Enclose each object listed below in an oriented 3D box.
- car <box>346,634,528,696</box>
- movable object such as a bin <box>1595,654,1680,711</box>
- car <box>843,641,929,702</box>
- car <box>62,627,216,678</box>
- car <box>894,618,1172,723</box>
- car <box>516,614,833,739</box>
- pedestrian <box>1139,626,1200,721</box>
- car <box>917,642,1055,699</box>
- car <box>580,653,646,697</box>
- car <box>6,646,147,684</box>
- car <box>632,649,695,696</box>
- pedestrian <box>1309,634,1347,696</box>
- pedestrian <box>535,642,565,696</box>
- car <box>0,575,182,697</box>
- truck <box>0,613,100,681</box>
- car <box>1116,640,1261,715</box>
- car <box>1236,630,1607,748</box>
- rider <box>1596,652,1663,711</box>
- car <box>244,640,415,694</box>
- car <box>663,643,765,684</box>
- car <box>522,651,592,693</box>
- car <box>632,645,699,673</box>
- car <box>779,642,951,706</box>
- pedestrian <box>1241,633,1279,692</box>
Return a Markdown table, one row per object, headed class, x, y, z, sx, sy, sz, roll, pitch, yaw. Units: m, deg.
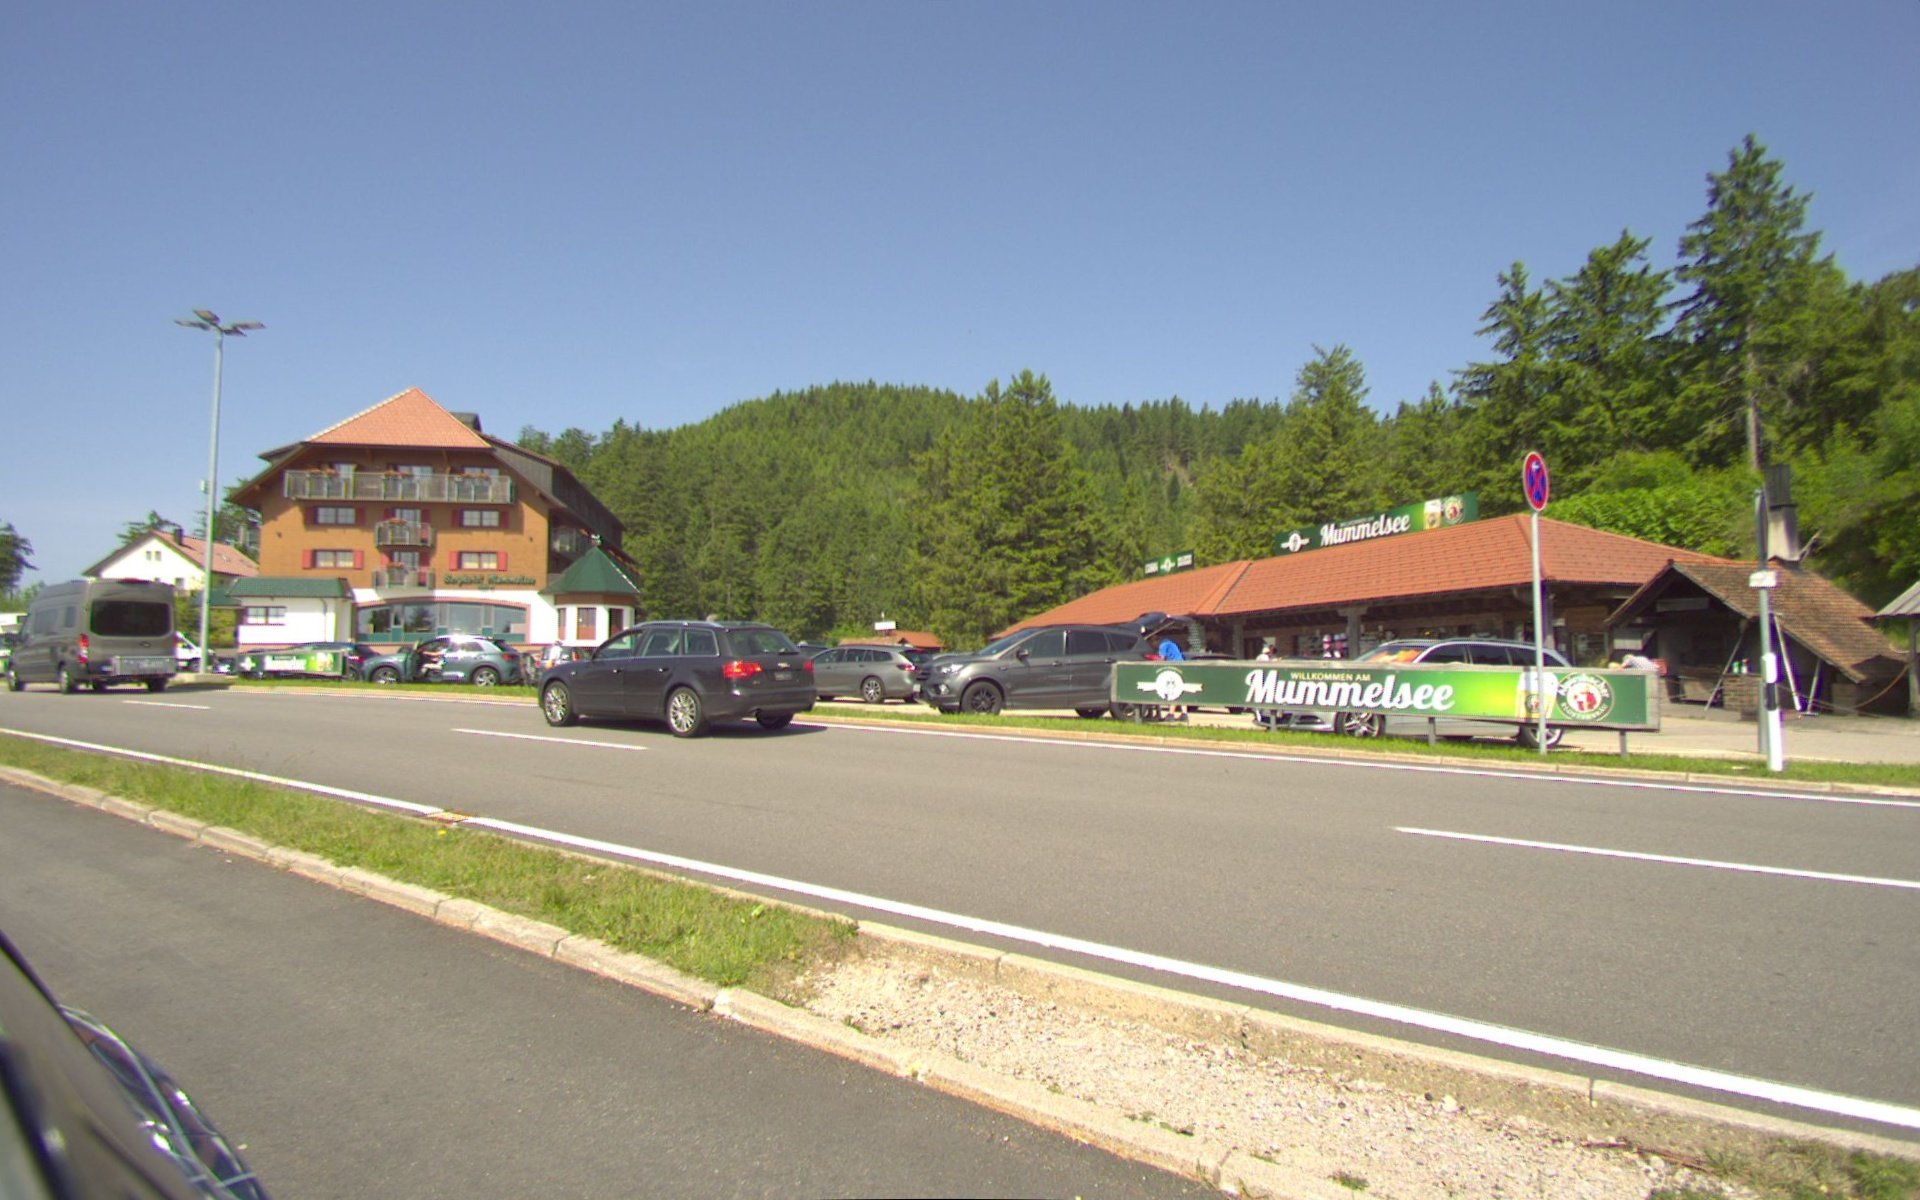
| class | x | y | z | sx | sy | sz | roll | pitch | yaw |
| --- | --- | --- | --- | --- | --- | --- | --- | --- | --- |
| car | -14.559 | 1.826 | 28.440 | 4.199 | 1.641 | 1.829 | 2 | -3 | -14 |
| movable object such as a bin | 14.925 | 1.799 | 22.325 | 0.969 | 1.198 | 1.218 | 0 | -3 | -4 |
| car | -2.310 | 2.130 | 30.574 | 1.888 | 1.729 | 4.105 | 1 | -3 | -14 |
| car | -48.490 | 3.126 | 59.981 | 6.854 | 2.812 | 2.672 | 3 | -4 | -39 |
| car | 1.249 | 1.234 | 17.603 | 4.475 | 1.669 | 1.727 | 2 | -3 | -16 |
| car | -3.948 | 0.979 | 13.716 | 4.439 | 1.449 | 1.691 | -2 | -3 | 35 |
| pedestrian | 3.723 | 1.295 | 18.020 | 0.733 | 1.648 | 0.849 | 1 | -3 | -17 |
| car | 0.801 | 2.262 | 32.501 | 4.026 | 1.729 | 1.925 | 1 | -3 | -13 |
| car | -12.795 | 2.733 | 37.529 | 1.794 | 1.524 | 4.104 | 1 | -3 | -12 |
| car | -37.175 | 2.743 | 42.723 | 4.024 | 1.539 | 1.829 | 2 | -3 | -18 |
| car | -10.248 | 2.476 | 35.219 | 1.794 | 1.524 | 4.104 | 1 | -3 | -12 |
| pedestrian | 12.206 | 2.136 | 33.570 | 0.711 | 2.029 | 0.930 | 1 | -3 | -20 |
| pedestrian | -12.598 | 2.114 | 31.092 | 0.733 | 1.637 | 0.685 | 2 | -3 | -27 |
| car | -22.014 | 0.920 | 25.434 | 5.899 | 2.772 | 1.995 | -2 | -4 | 33 |
| truck | -56.194 | 2.870 | 61.613 | 2.834 | 3.850 | 9.045 | -1 | -2 | -20 |
| car | 5.581 | 1.897 | 25.317 | 1.888 | 1.729 | 4.105 | 1 | -3 | -14 |
| car | 6.194 | 1.184 | 13.743 | 4.427 | 1.441 | 1.726 | 1 | -3 | -13 |
| rider | 14.835 | 1.793 | 22.448 | 0.827 | 1.284 | 0.910 | 0 | -3 | -4 |
| car | -19.844 | 2.124 | 32.062 | 4.199 | 1.641 | 1.829 | 2 | -3 | -14 |
| car | -10.284 | 2.647 | 42.320 | 4.026 | 1.641 | 1.829 | 2 | -3 | -14 |
| car | -15.331 | 2.718 | 38.707 | 1.794 | 1.524 | 4.104 | 1 | -3 | -12 |
| car | -19.114 | 3.825 | 65.890 | 4.026 | 1.729 | 1.925 | 1 | -3 | -13 |
| car | -2.362 | 1.793 | 25.027 | 3.981 | 1.441 | 1.706 | -1 | -4 | 28 |
| pedestrian | 10.644 | 2.209 | 35.931 | 0.948 | 2.029 | 0.859 | 1 | -3 | -20 |
